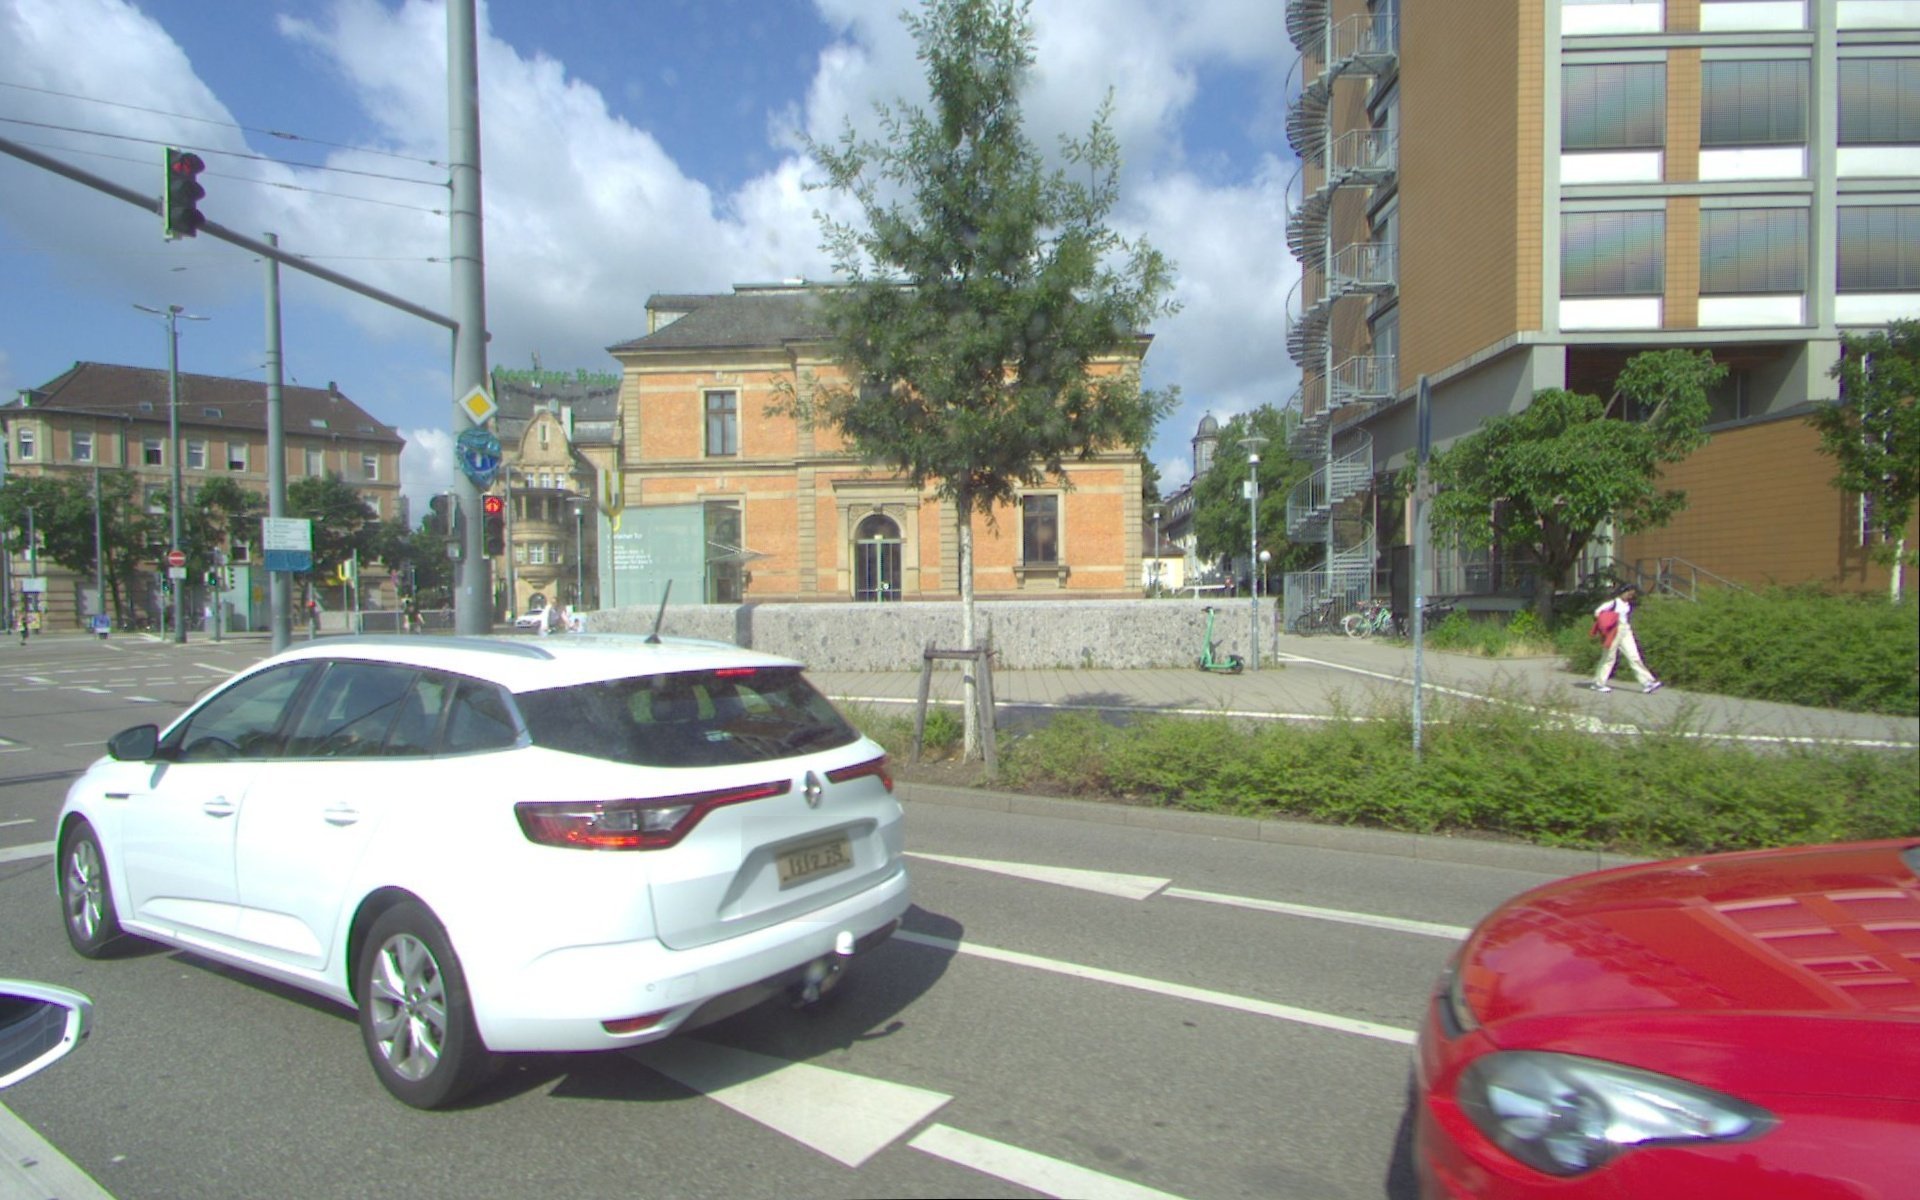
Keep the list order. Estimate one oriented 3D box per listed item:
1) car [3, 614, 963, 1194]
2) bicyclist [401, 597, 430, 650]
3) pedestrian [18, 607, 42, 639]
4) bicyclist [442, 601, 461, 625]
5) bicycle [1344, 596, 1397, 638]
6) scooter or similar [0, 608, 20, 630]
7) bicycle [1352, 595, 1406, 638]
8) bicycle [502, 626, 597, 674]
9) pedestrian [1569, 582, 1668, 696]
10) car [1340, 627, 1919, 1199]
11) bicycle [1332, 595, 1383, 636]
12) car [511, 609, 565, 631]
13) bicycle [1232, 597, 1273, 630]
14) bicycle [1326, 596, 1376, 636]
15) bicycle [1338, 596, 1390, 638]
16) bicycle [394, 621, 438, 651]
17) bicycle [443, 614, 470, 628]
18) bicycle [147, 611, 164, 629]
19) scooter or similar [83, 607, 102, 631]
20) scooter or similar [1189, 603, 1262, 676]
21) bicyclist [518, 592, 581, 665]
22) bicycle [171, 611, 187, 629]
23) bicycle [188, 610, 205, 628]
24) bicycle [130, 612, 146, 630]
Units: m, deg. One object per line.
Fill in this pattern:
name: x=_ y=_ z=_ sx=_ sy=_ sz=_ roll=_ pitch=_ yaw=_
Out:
car: x=-2.389 y=0.839 z=4.510 sx=4.609 sy=1.447 sz=1.754 roll=-2 pitch=-2 yaw=33
bicyclist: x=-17.901 y=0.754 z=32.912 sx=0.927 sy=1.694 sz=0.574 roll=0 pitch=2 yaw=45
pedestrian: x=-44.818 y=1.116 z=48.249 sx=0.733 sy=1.536 sz=0.541 roll=-1 pitch=1 yaw=-35
bicyclist: x=-37.066 y=0.959 z=73.017 sx=0.604 sy=1.697 sz=1.146 roll=-1 pitch=1 yaw=16
bicycle: x=12.594 y=0.519 z=30.717 sx=1.446 sy=1.264 sz=0.428 roll=0 pitch=1 yaw=2
scooter or similar: x=-60.432 y=1.214 z=63.336 sx=2.773 sy=1.403 sz=1.171 roll=-2 pitch=-2 yaw=41
bicycle: x=12.623 y=0.500 z=30.186 sx=1.446 sy=1.264 sz=0.428 roll=0 pitch=1 yaw=2
bicycle: x=-8.474 y=1.006 z=20.644 sx=2.243 sy=0.909 sz=0.649 roll=0 pitch=0 yaw=33
pedestrian: x=9.580 y=0.542 z=14.597 sx=0.755 sy=1.599 sz=0.956 roll=-1 pitch=1 yaw=-14
car: x=2.766 y=0.773 z=1.354 sx=4.005 sy=1.486 sz=1.639 roll=-1 pitch=-2 yaw=30
bicycle: x=12.591 y=0.497 z=31.713 sx=1.446 sy=1.264 sz=0.428 roll=0 pitch=1 yaw=2
car: x=-32.400 y=1.549 z=77.066 sx=1.919 sy=1.616 sz=4.508 roll=0 pitch=-2 yaw=5
bicycle: x=11.251 y=0.527 z=38.569 sx=1.446 sy=1.264 sz=0.428 roll=0 pitch=1 yaw=2
bicycle: x=12.570 y=0.502 z=32.222 sx=1.446 sy=1.264 sz=0.428 roll=0 pitch=1 yaw=2
bicycle: x=12.591 y=0.525 z=31.219 sx=1.446 sy=1.264 sz=0.428 roll=0 pitch=1 yaw=2
bicycle: x=-17.916 y=1.178 z=32.949 sx=0.753 sy=0.887 sz=1.790 roll=-4 pitch=3 yaw=-45
bicycle: x=-36.705 y=1.506 z=73.029 sx=0.831 sy=0.969 sz=1.778 roll=-2 pitch=0 yaw=11
bicycle: x=-54.846 y=1.357 z=68.249 sx=0.753 sy=1.180 sz=2.661 roll=3 pitch=-2 yaw=-40
scooter or similar: x=-56.854 y=1.248 z=65.612 sx=0.871 sy=1.502 sz=1.995 roll=-1 pitch=0 yaw=-42
scooter or similar: x=4.724 y=0.678 z=17.918 sx=0.427 sy=1.200 sz=1.532 roll=-1 pitch=2 yaw=-21
bicyclist: x=-8.462 y=0.574 z=20.646 sx=1.153 sy=1.477 sz=0.632 roll=0 pitch=1 yaw=33
bicycle: x=-53.788 y=1.409 z=68.958 sx=0.753 sy=1.180 sz=2.663 roll=1 pitch=-2 yaw=-40
bicycle: x=-53.105 y=1.318 z=69.655 sx=0.753 sy=1.181 sz=2.661 roll=-1 pitch=0 yaw=-40
bicycle: x=-55.662 y=1.387 z=67.812 sx=0.753 sy=1.181 sz=2.661 roll=-1 pitch=0 yaw=-40
